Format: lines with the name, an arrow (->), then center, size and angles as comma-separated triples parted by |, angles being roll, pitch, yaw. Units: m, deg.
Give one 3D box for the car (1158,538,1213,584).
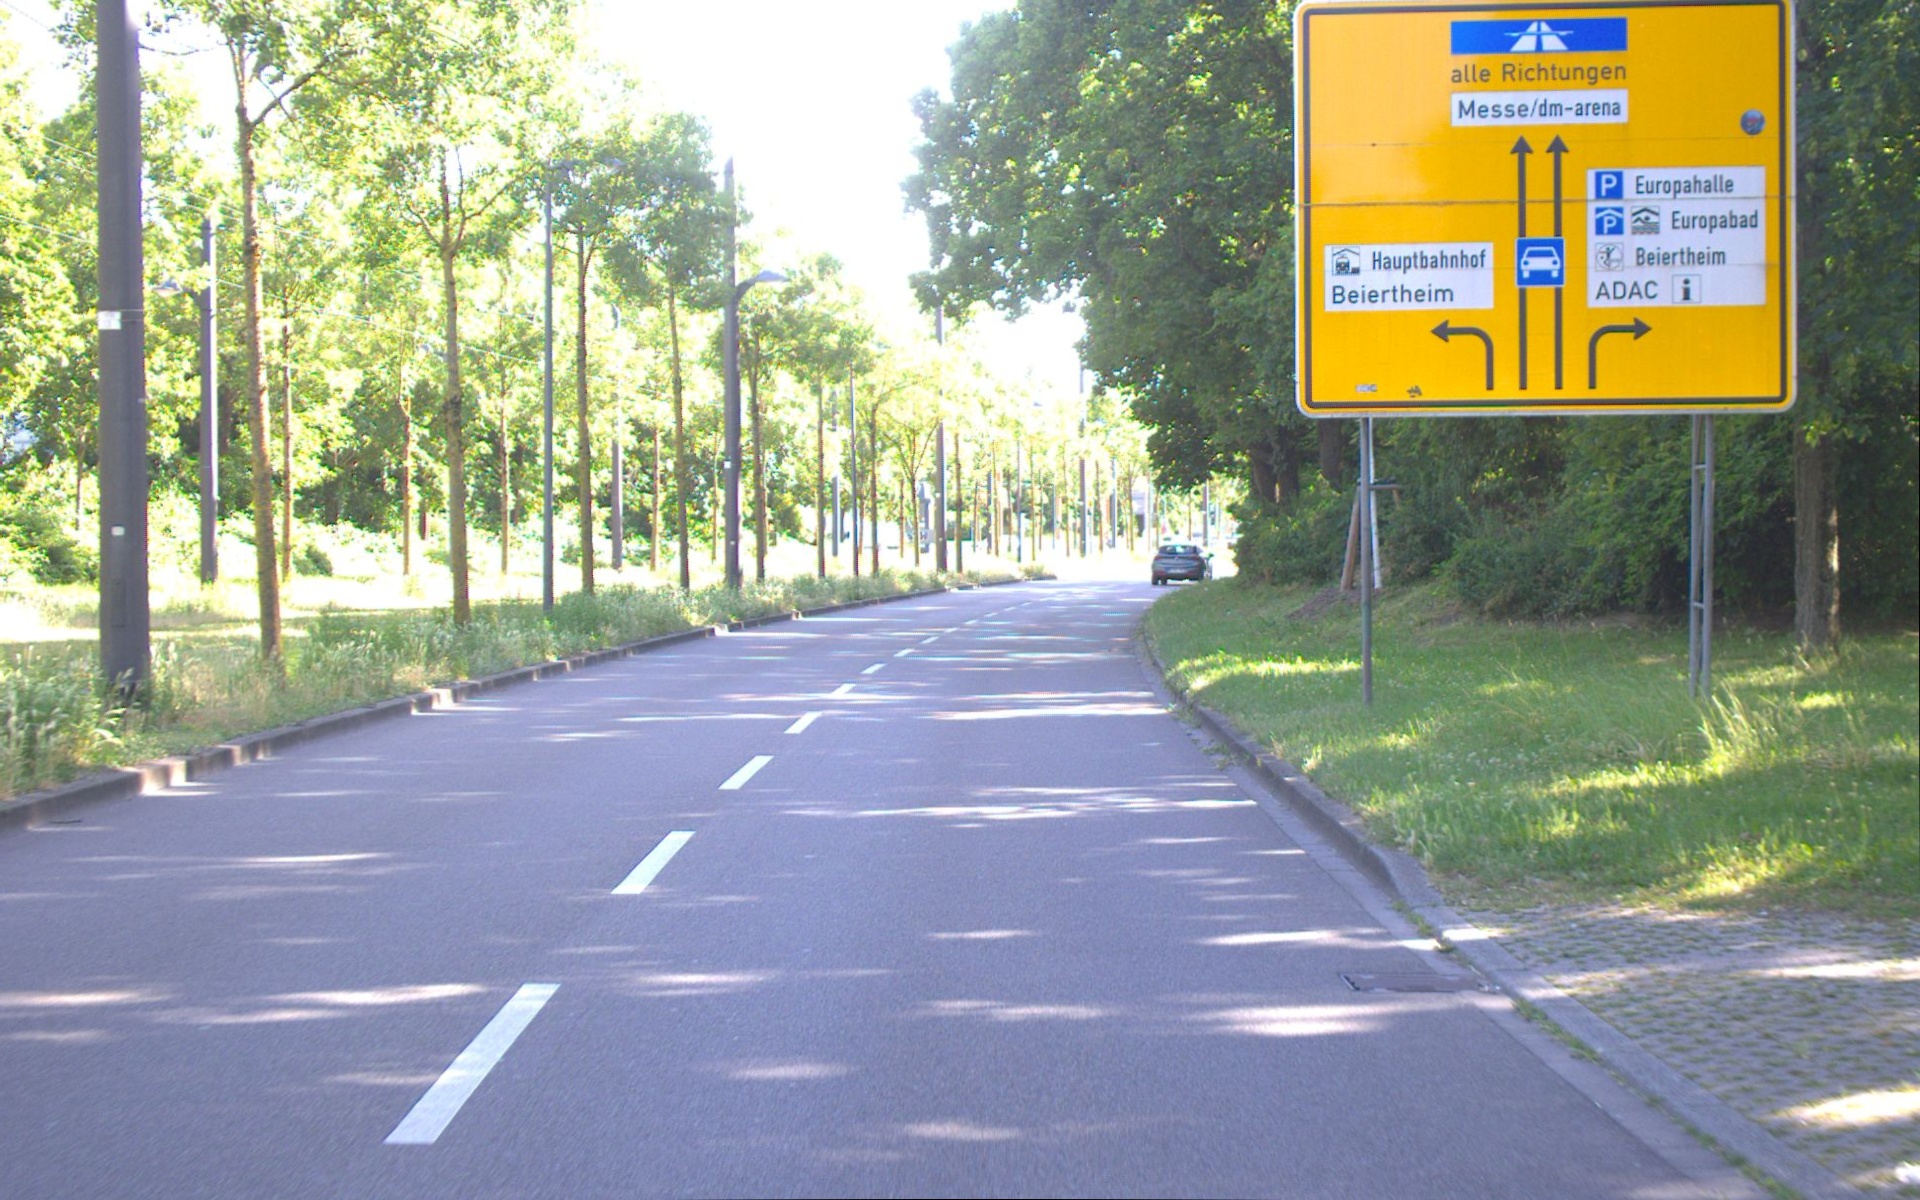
car -> 7.590, -1.334, 115.459 | 1.634, 1.493, 4.234 | 1, 1, 6
